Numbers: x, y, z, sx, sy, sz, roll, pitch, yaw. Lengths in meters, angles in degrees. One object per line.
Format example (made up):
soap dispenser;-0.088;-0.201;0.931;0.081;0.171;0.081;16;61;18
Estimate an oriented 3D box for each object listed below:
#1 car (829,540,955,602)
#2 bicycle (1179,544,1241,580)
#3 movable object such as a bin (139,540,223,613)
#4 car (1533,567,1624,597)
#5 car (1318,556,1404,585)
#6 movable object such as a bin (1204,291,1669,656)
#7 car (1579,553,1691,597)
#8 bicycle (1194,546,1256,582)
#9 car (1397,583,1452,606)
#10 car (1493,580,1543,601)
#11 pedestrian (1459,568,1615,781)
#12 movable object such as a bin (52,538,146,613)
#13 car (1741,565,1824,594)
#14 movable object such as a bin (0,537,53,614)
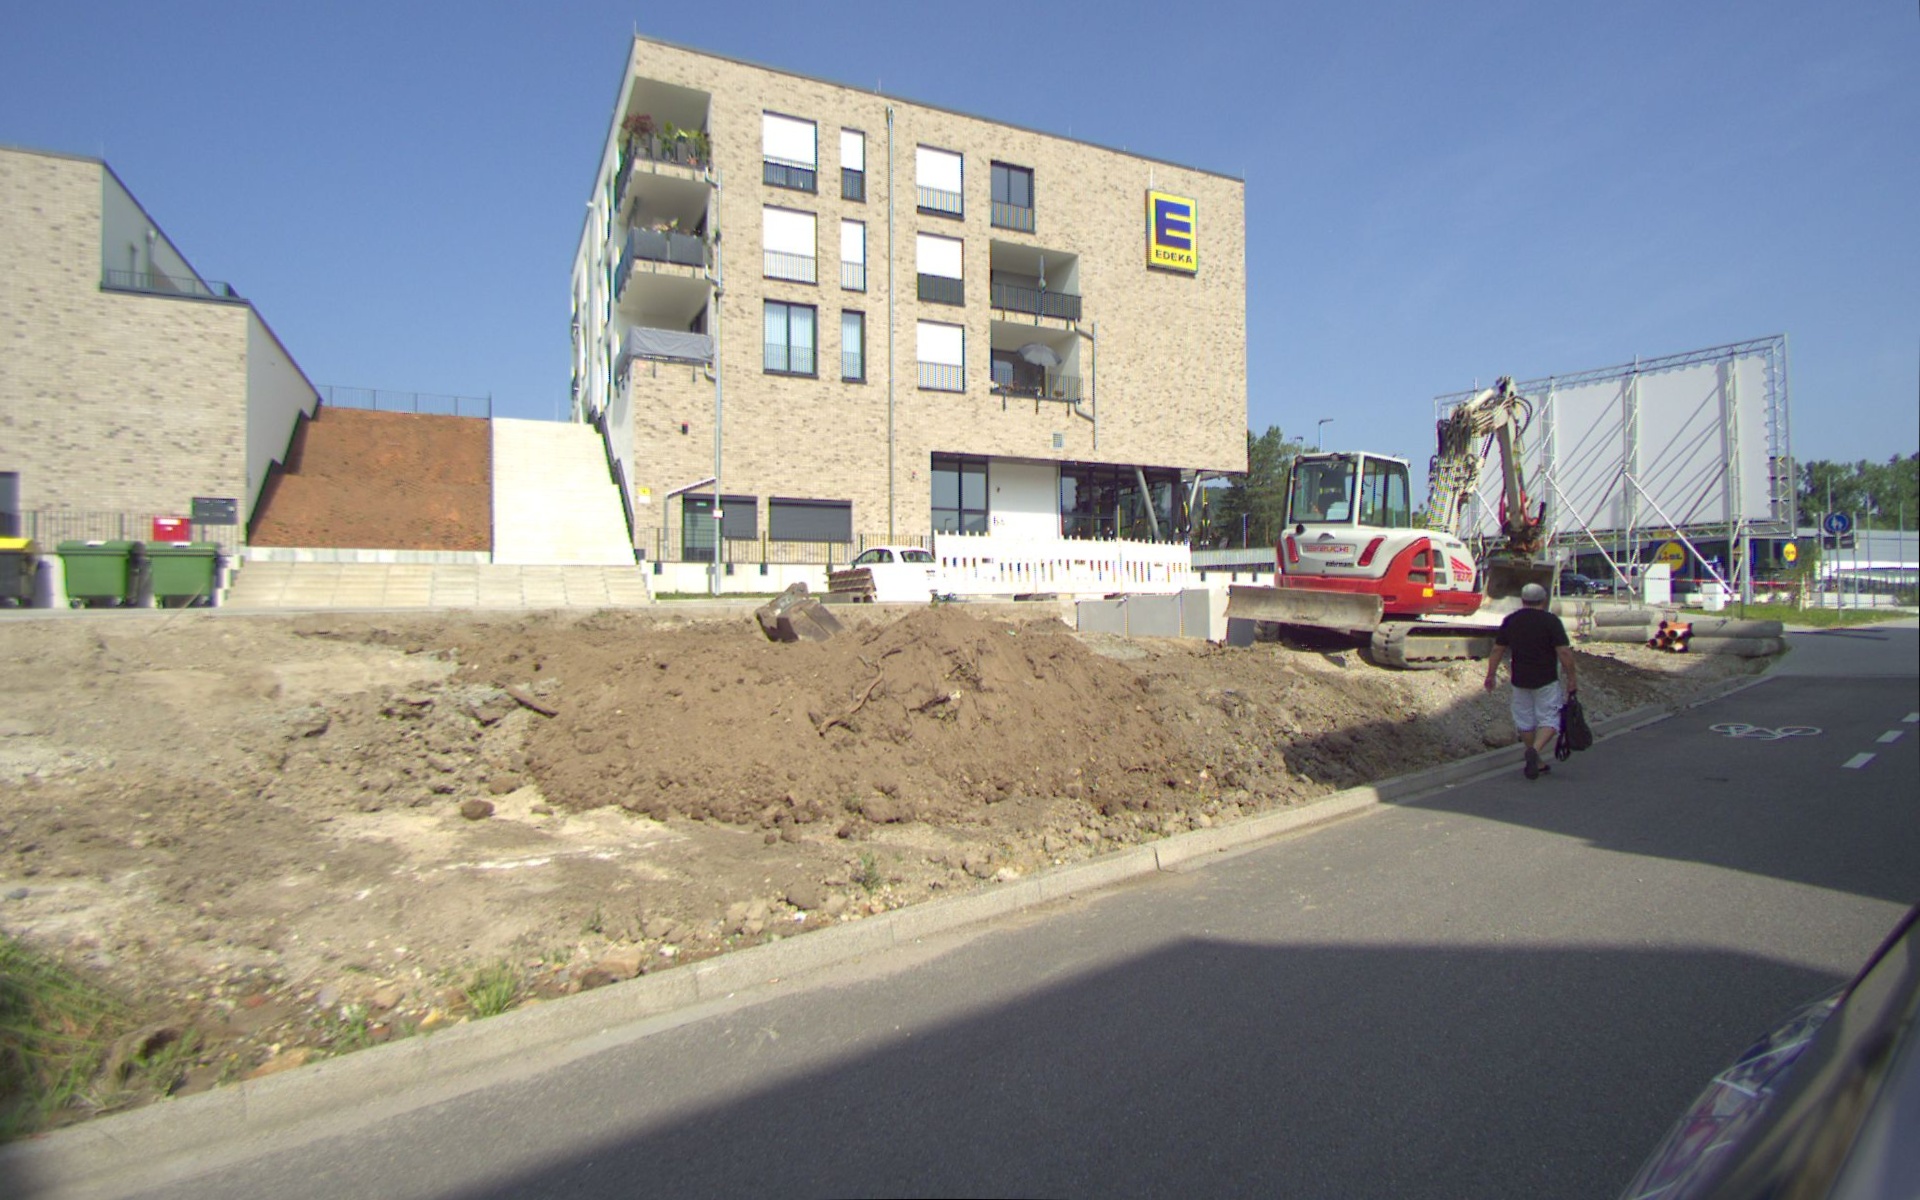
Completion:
car;-1.840;-0.738;26.593;1.567;1.513;3.411;-2;1;-40
bicycle;9.438;-1.416;38.295;0.841;1.159;2.242;1;-4;-37
movable object such as a bin;-17.270;-0.495;22.481;1.293;1.483;1.304;0;-4;-30
car;39.939;-1.132;65.453;1.882;1.550;4.867;0;-3;-19
car;23.865;-1.710;60.366;1.819;1.575;4.830;2;0;-24
movable object such as a bin;6.898;-1.368;14.040;7.653;3.904;2.300;-1;-3;-37
car;45.050;-1.618;67.764;2.017;2.415;6.100;0;-3;-21
bicycle;10.151;-1.363;38.867;0.841;1.159;2.242;1;-4;-37
car;35.904;-0.424;78.187;3.708;1.595;1.765;0;-4;-24
car;46.282;-0.797;83.933;3.708;1.595;1.668;0;-4;-24
pedestrian;4.938;0.610;8.685;0.706;1.705;0.890;-1;-2;-40
movable object such as a bin;-18.524;-0.495;21.821;1.293;1.483;1.304;0;-4;-30
car;55.882;-1.368;68.814;1.746;1.595;4.017;1;-4;-38
movable object such as a bin;-20.085;-0.487;21.170;1.293;1.483;1.699;0;-4;-30
